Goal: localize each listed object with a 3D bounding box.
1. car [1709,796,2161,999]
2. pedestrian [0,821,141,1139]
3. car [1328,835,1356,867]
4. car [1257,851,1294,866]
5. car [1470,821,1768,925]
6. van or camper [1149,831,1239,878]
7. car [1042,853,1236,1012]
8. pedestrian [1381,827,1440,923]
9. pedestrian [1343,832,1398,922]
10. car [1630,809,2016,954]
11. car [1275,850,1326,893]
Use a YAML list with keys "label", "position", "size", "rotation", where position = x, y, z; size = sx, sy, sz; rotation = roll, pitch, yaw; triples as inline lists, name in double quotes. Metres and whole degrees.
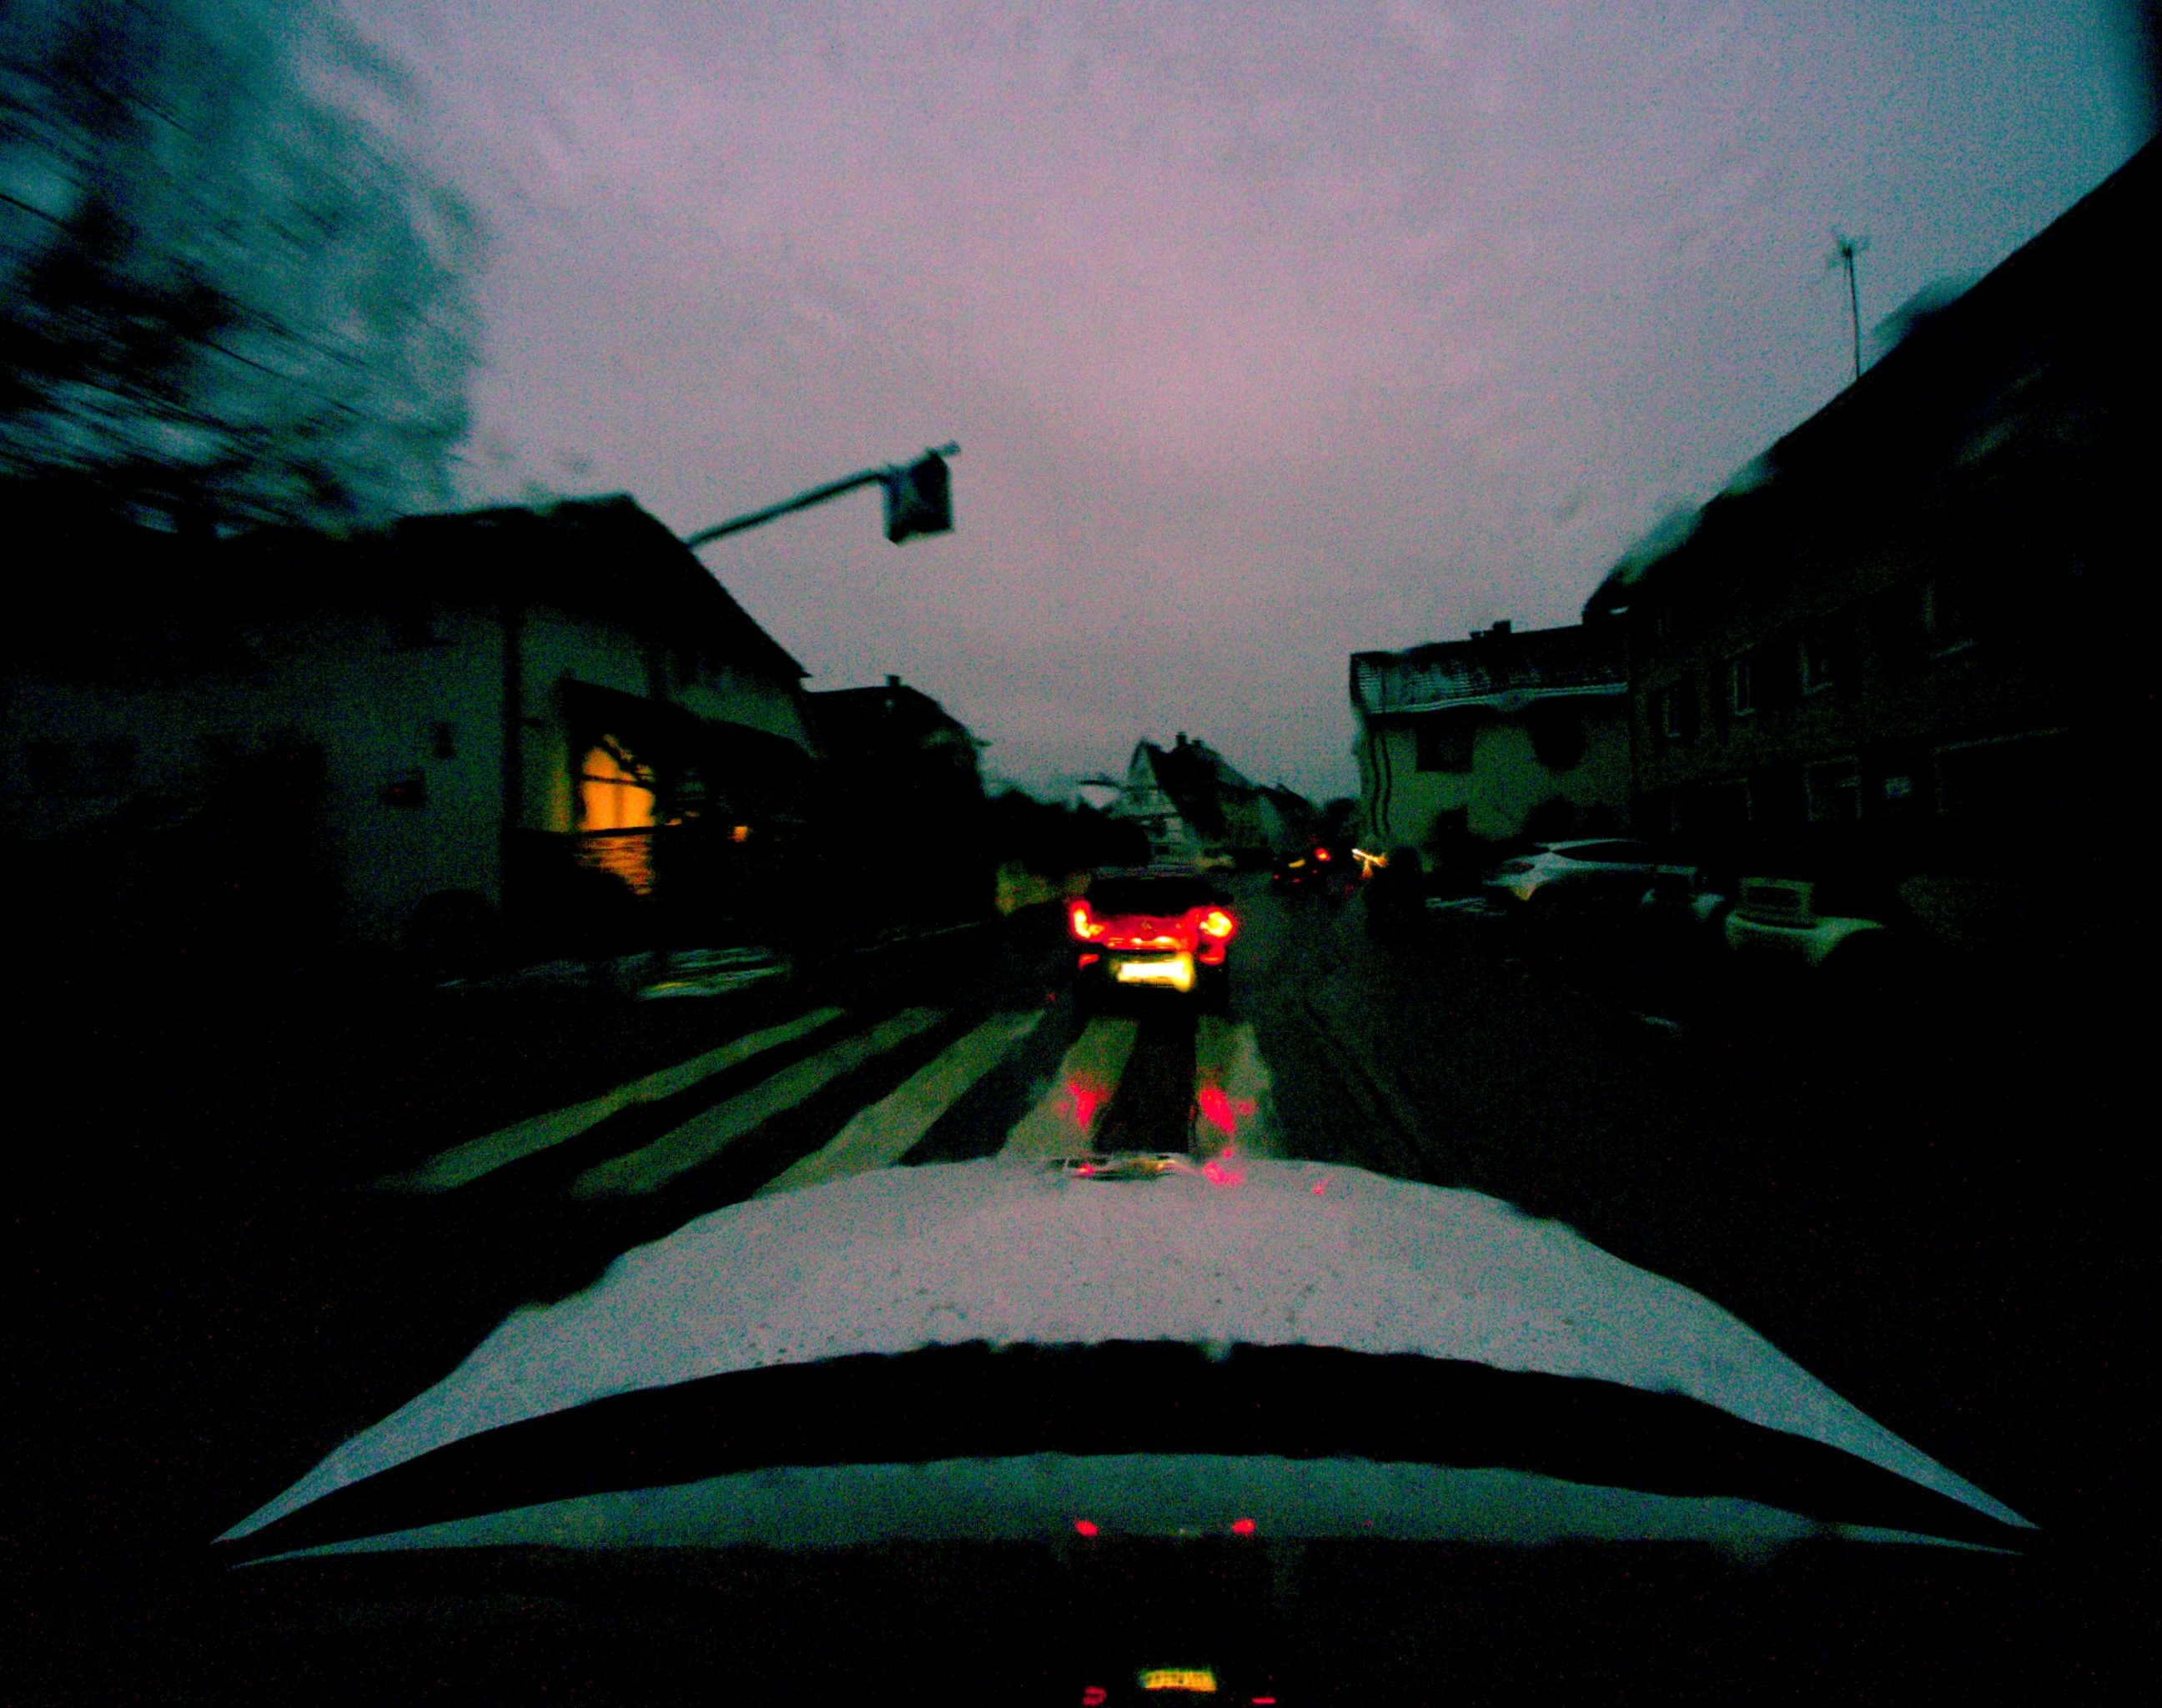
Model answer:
- label: "car"
  position: [7.659, 0.368, 7.438]
  size: [2.567, 1.547, 1.556]
  rotation: [-3, 0, 10]
- label: "pedestrian"
  position: [-6.320, 0.696, 4.644]
  size: [0.872, 1.735, 0.960]
  rotation: [-1, 0, 18]
- label: "car"
  position: [20.461, -0.229, 63.744]
  size: [1.798, 2.413, 3.771]
  rotation: [-2, -1, 22]
- label: "car"
  position: [20.362, 0.496, 85.309]
  size: [3.474, 1.507, 1.702]
  rotation: [-2, 0, 27]
- label: "car"
  position: [9.078, 0.332, 14.096]
  size: [3.873, 1.474, 1.757]
  rotation: [-3, -1, 13]
- label: "van or camper"
  position: [8.458, 0.075, 61.012]
  size: [6.005, 2.955, 2.420]
  rotation: [-5, -2, 25]
- label: "car"
  position: [0.726, 0.737, 9.604]
  size: [1.786, 1.476, 4.006]
  rotation: [-1, 0, 5]
- label: "pedestrian"
  position: [6.339, 0.400, 15.713]
  size: [0.841, 1.733, 0.976]
  rotation: [-5, -1, 18]
- label: "pedestrian"
  position: [5.696, 0.447, 16.093]
  size: [0.860, 1.667, 0.996]
  rotation: [-5, -1, 17]
- label: "car"
  position: [8.751, 0.333, 9.888]
  size: [3.043, 1.474, 1.555]
  rotation: [-3, -1, 13]
- label: "car"
  position: [9.034, 0.663, 33.354]
  size: [1.833, 1.637, 4.355]
  rotation: [-1, 0, 17]
